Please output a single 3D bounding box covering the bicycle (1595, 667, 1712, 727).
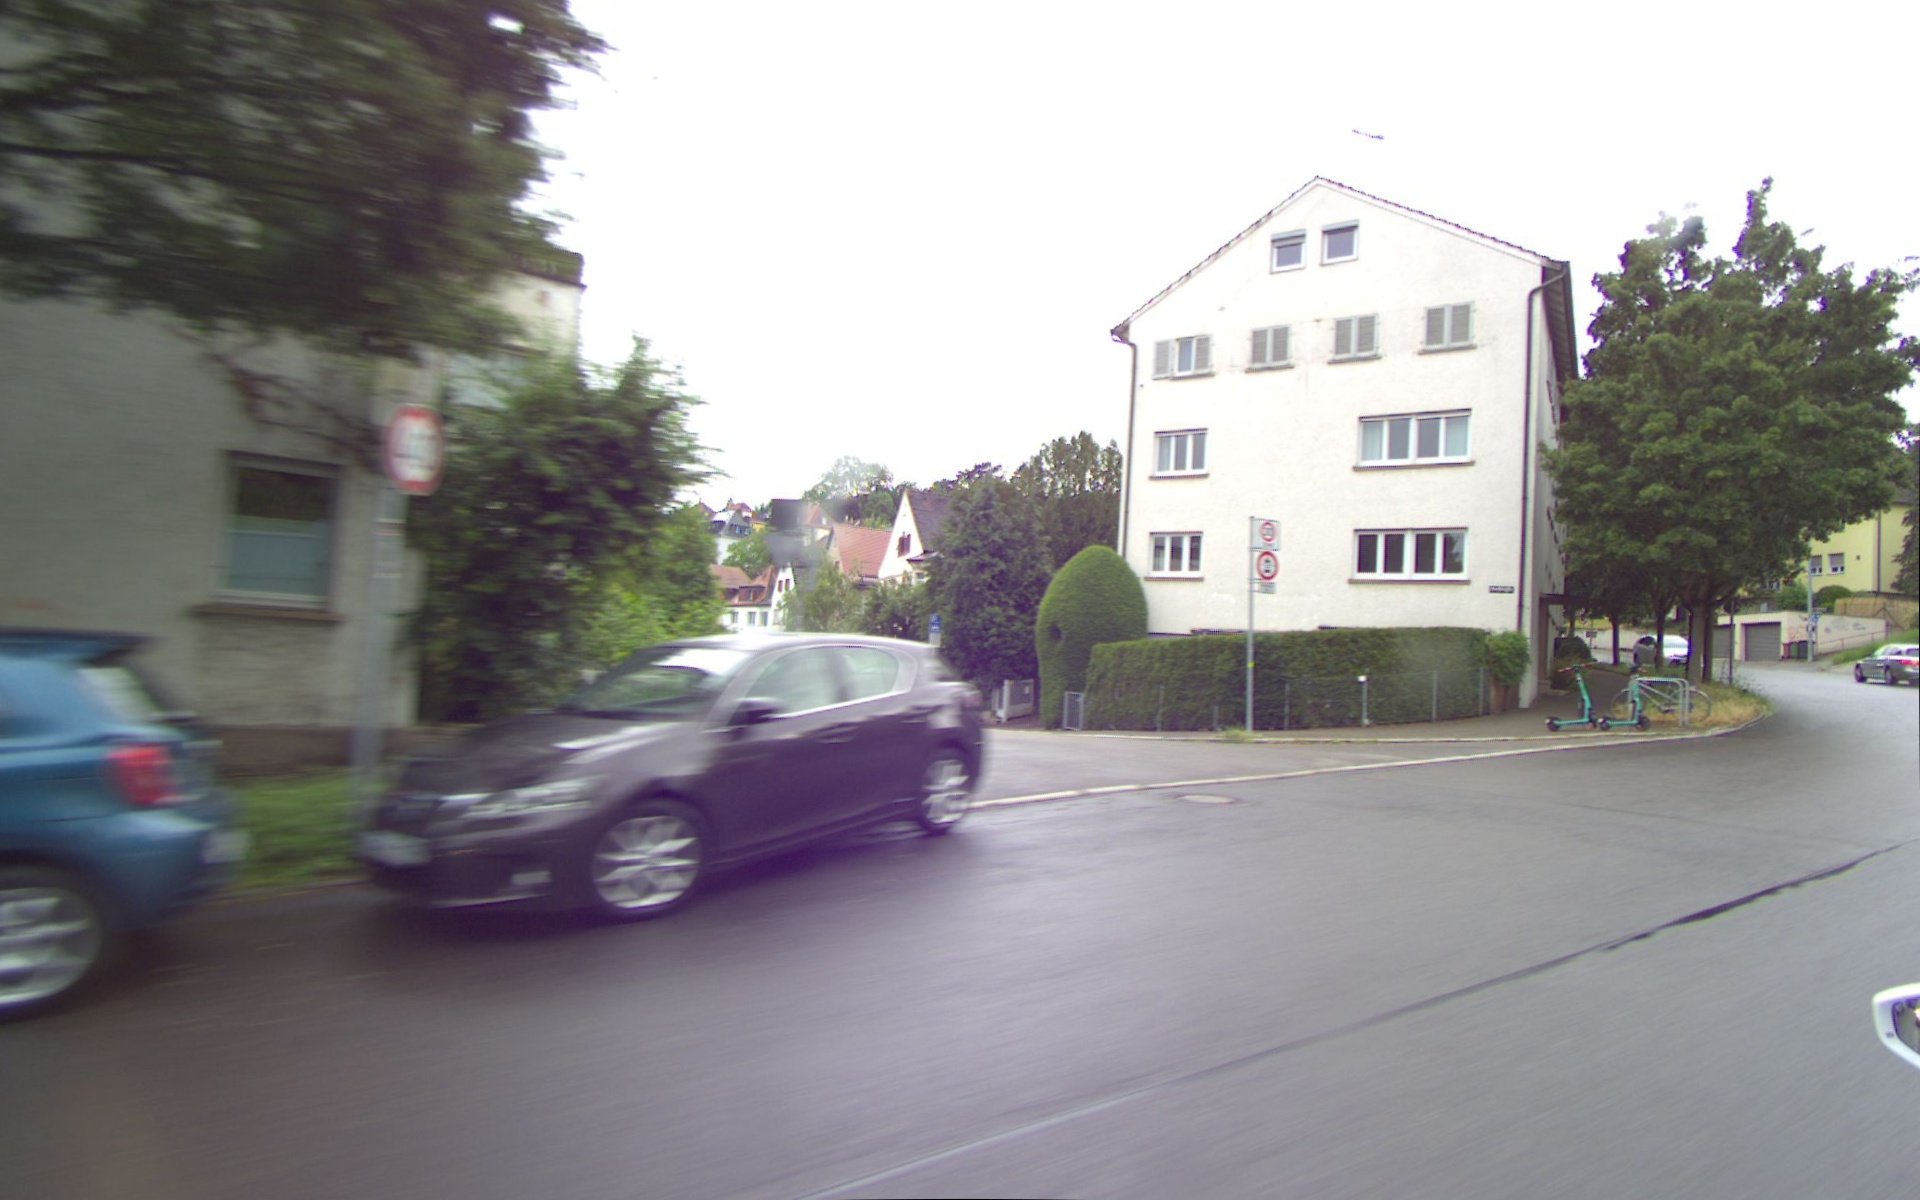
[{"bbox_3d":[14.149,1.960,20.526,1.937,1.074,0.751,0,-1,36],"label":"bicycle"}]

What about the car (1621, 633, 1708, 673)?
[{"bbox_3d":[34.037,2.541,48.702,1.951,1.812,4.697,-2,-3,16],"label":"car"}]

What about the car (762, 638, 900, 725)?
[{"bbox_3d":[-2.704,1.703,20.220,1.969,1.536,4.092,3,-7,-18],"label":"car"}]

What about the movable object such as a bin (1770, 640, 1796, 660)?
[{"bbox_3d":[48.148,2.910,58.766,0.845,1.157,0.799,1,-1,-5],"label":"movable object such as a bin"}]

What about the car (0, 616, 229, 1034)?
[{"bbox_3d":[-5.170,0.825,3.681,3.834,1.482,1.704,0,1,-30],"label":"car"}]

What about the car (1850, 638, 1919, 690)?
[{"bbox_3d":[34.025,2.307,36.210,1.921,1.582,4.256,4,2,28],"label":"car"}]

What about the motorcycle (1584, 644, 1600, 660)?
[{"bbox_3d":[48.058,3.927,76.426,0.539,1.146,1.441,2,0,11],"label":"motorcycle"}]

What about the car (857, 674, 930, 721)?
[{"bbox_3d":[-2.552,3.703,37.741,1.725,1.626,3.986,3,-7,-19],"label":"car"}]

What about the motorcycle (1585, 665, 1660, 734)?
[{"bbox_3d":[12.388,1.837,18.783,1.380,1.219,0.555,1,-1,-26],"label":"motorcycle"}]

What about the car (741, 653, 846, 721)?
[{"bbox_3d":[-4.278,2.255,25.355,1.969,1.536,4.092,3,-7,-18],"label":"car"}]

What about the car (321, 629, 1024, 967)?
[{"bbox_3d":[-1.459,0.941,6.611,1.966,1.409,4.187,0,-2,33],"label":"car"}]

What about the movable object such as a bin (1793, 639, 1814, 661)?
[{"bbox_3d":[48.071,2.858,57.237,0.691,1.239,0.580,1,-1,-5],"label":"movable object such as a bin"}]

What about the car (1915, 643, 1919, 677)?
[{"bbox_3d":[44.638,2.682,43.748,4.097,1.528,1.742,1,-1,10],"label":"car"}]

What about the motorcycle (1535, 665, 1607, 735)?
[{"bbox_3d":[11.504,1.859,18.909,1.288,1.244,0.550,1,-1,-26],"label":"motorcycle"}]

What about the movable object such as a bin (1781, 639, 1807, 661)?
[{"bbox_3d":[48.110,2.875,57.929,0.845,1.201,0.787,1,-1,-5],"label":"movable object such as a bin"}]

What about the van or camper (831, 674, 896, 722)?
[{"bbox_3d":[-4.063,4.124,41.863,1.897,1.872,3.567,3,-7,-19],"label":"van or camper"}]
